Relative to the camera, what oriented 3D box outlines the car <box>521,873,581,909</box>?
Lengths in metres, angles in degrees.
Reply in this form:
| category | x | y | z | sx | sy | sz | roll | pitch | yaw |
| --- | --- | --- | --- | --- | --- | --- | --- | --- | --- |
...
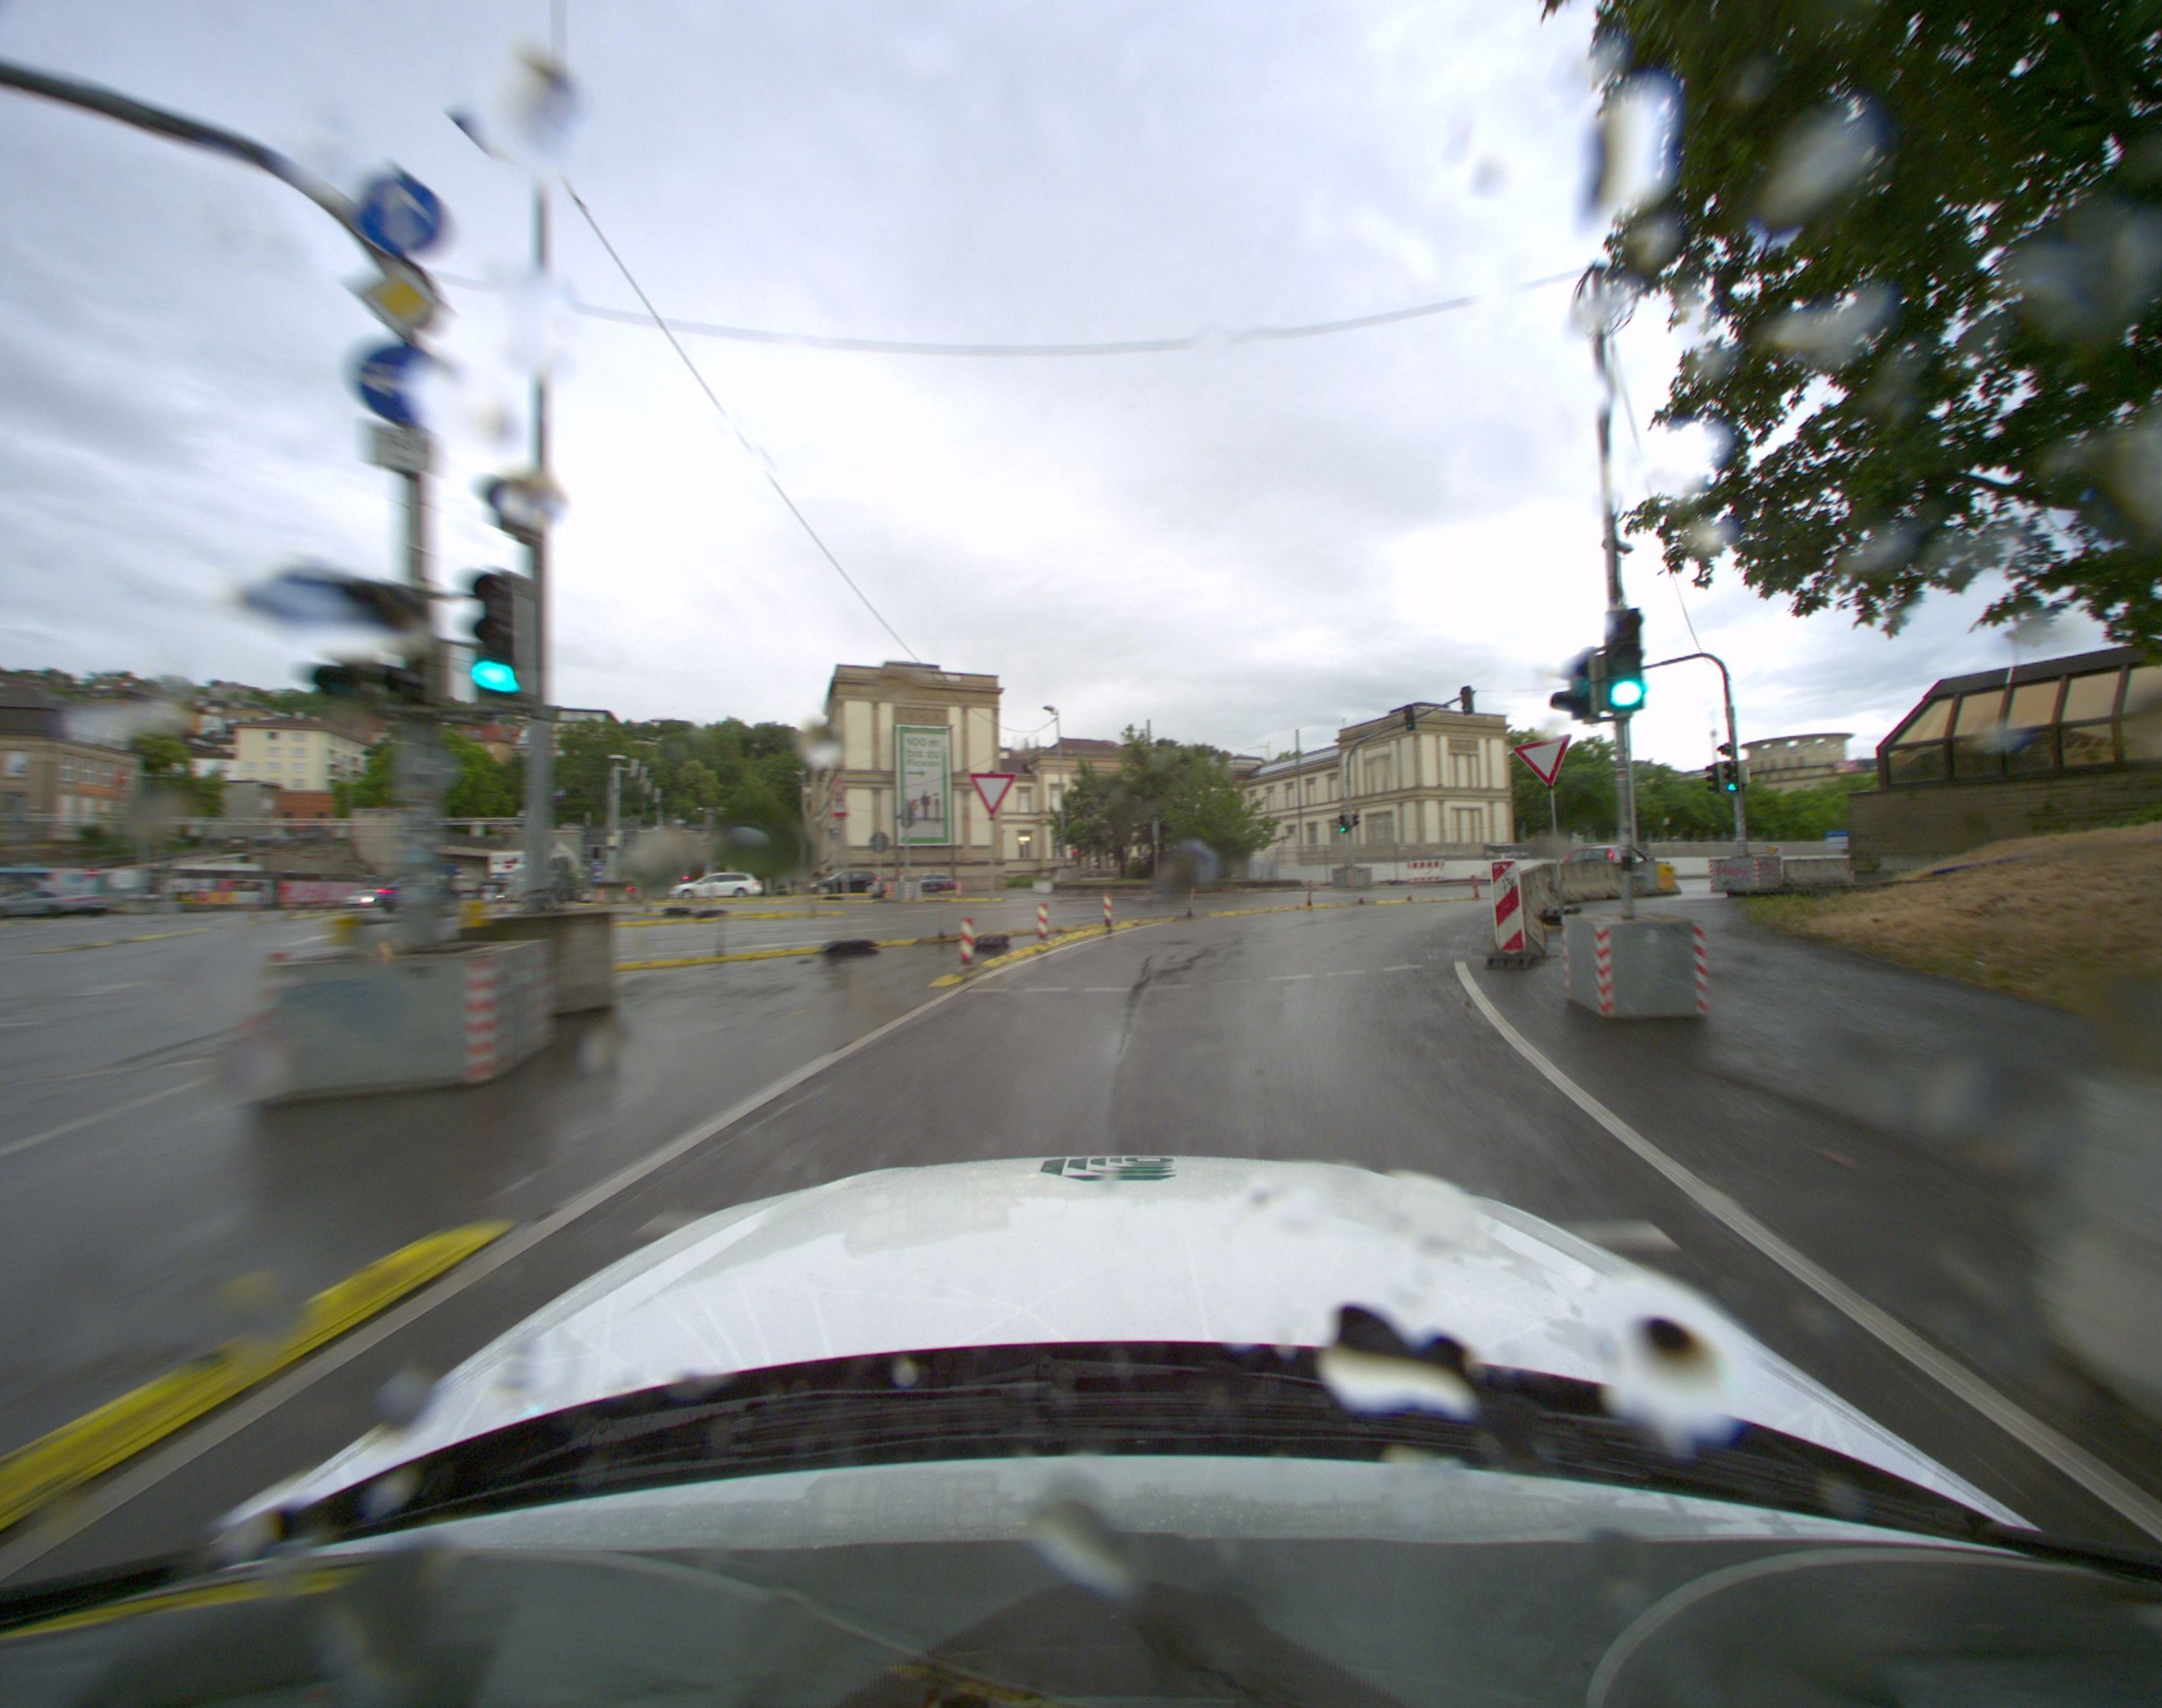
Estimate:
| category | x | y | z | sx | sy | sz | roll | pitch | yaw |
| --- | --- | --- | --- | --- | --- | --- | --- | --- | --- |
| car | -32.616 | 2.232 | 50.249 | 1.997 | 2.014 | 3.979 | 0 | -1 | -16 |

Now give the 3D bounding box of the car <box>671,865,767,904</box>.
| category | x | y | z | sx | sy | sz | roll | pitch | yaw |
| --- | --- | --- | --- | --- | --- | --- | --- | --- | --- |
| car | -19.606 | 1.601 | 44.235 | 4.648 | 2.014 | 1.984 | 0 | 0 | -24 |

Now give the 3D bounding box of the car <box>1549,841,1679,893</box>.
| category | x | y | z | sx | sy | sz | roll | pitch | yaw |
| --- | --- | --- | --- | --- | --- | --- | --- | --- | --- |
| car | 15.643 | 0.372 | 23.881 | 3.768 | 1.427 | 1.659 | 0 | 0 | -30 |

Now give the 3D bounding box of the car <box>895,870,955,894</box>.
| category | x | y | z | sx | sy | sz | roll | pitch | yaw |
| --- | --- | --- | --- | --- | --- | --- | --- | --- | --- |
| car | -11.783 | 2.087 | 61.430 | 4.194 | 1.701 | 1.810 | 0 | 0 | -20 |

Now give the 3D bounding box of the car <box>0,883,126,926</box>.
| category | x | y | z | sx | sy | sz | roll | pitch | yaw |
| --- | --- | --- | --- | --- | --- | --- | --- | --- | --- |
| car | -51.198 | 2.497 | 40.823 | 4.264 | 2.014 | 2.001 | 0 | 0 | 1 |

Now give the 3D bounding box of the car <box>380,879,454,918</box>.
| category | x | y | z | sx | sy | sz | roll | pitch | yaw |
| --- | --- | --- | --- | --- | --- | --- | --- | --- | --- |
| car | -27.197 | 1.777 | 33.499 | 2.008 | 1.438 | 3.957 | 0 | -1 | -34 |

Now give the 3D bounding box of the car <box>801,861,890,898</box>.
| category | x | y | z | sx | sy | sz | roll | pitch | yaw |
| --- | --- | --- | --- | --- | --- | --- | --- | --- | --- |
| car | -13.601 | 1.421 | 47.081 | 4.696 | 2.014 | 1.984 | 0 | 0 | -24 |

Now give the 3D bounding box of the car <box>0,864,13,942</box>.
| category | x | y | z | sx | sy | sz | roll | pitch | yaw |
| --- | --- | --- | --- | --- | --- | --- | --- | --- | --- |
| car | -25.275 | 1.107 | 16.976 | 2.006 | 1.839 | 4.637 | 0 | -1 | -31 |

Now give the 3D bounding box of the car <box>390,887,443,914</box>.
| category | x | y | z | sx | sy | sz | roll | pitch | yaw |
| --- | --- | --- | --- | --- | --- | --- | --- | --- | --- |
| car | -55.898 | 3.897 | 68.566 | 1.997 | 2.014 | 3.978 | 0 | 0 | -16 |

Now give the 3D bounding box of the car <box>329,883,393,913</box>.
| category | x | y | z | sx | sy | sz | roll | pitch | yaw |
| --- | --- | --- | --- | --- | --- | --- | --- | --- | --- |
| car | -53.679 | 3.237 | 60.839 | 1.997 | 2.014 | 3.978 | 0 | 0 | -16 |
